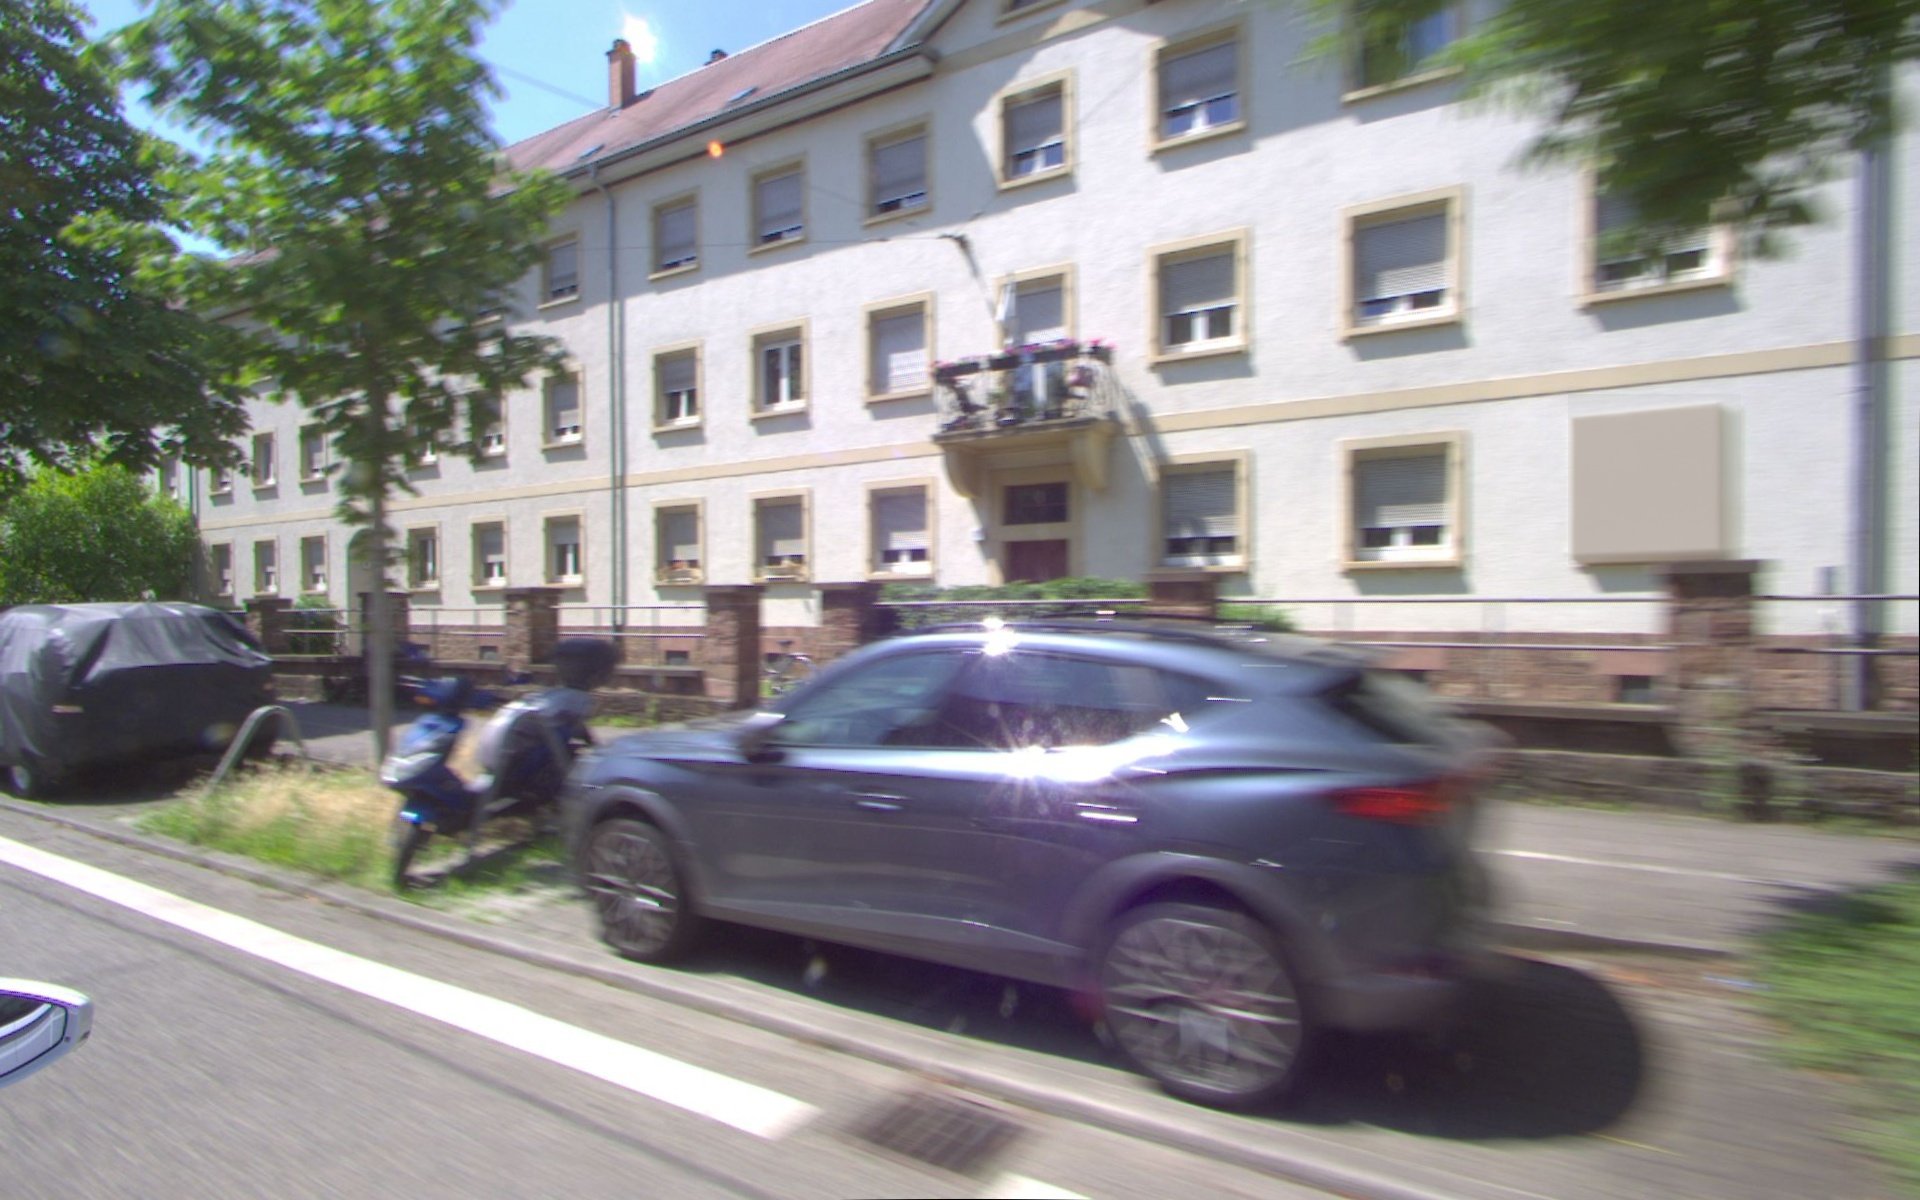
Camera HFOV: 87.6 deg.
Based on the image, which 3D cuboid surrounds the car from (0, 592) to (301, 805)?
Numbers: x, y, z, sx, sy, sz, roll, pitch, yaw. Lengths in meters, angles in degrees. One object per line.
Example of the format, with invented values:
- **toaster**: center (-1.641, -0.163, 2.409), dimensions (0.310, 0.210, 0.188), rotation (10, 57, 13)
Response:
- **car**: center (-8.862, 0.774, 10.188), dimensions (4.813, 1.673, 1.941), rotation (1, 2, 35)

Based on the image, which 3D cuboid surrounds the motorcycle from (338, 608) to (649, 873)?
- **motorcycle**: center (-2.970, 0.801, 6.629), dimensions (0.660, 1.452, 1.913), rotation (1, 1, 22)

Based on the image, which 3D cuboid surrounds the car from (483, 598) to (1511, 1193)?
- **car**: center (-0.007, 0.809, 4.573), dimensions (4.386, 1.573, 1.730), rotation (1, 2, 30)
